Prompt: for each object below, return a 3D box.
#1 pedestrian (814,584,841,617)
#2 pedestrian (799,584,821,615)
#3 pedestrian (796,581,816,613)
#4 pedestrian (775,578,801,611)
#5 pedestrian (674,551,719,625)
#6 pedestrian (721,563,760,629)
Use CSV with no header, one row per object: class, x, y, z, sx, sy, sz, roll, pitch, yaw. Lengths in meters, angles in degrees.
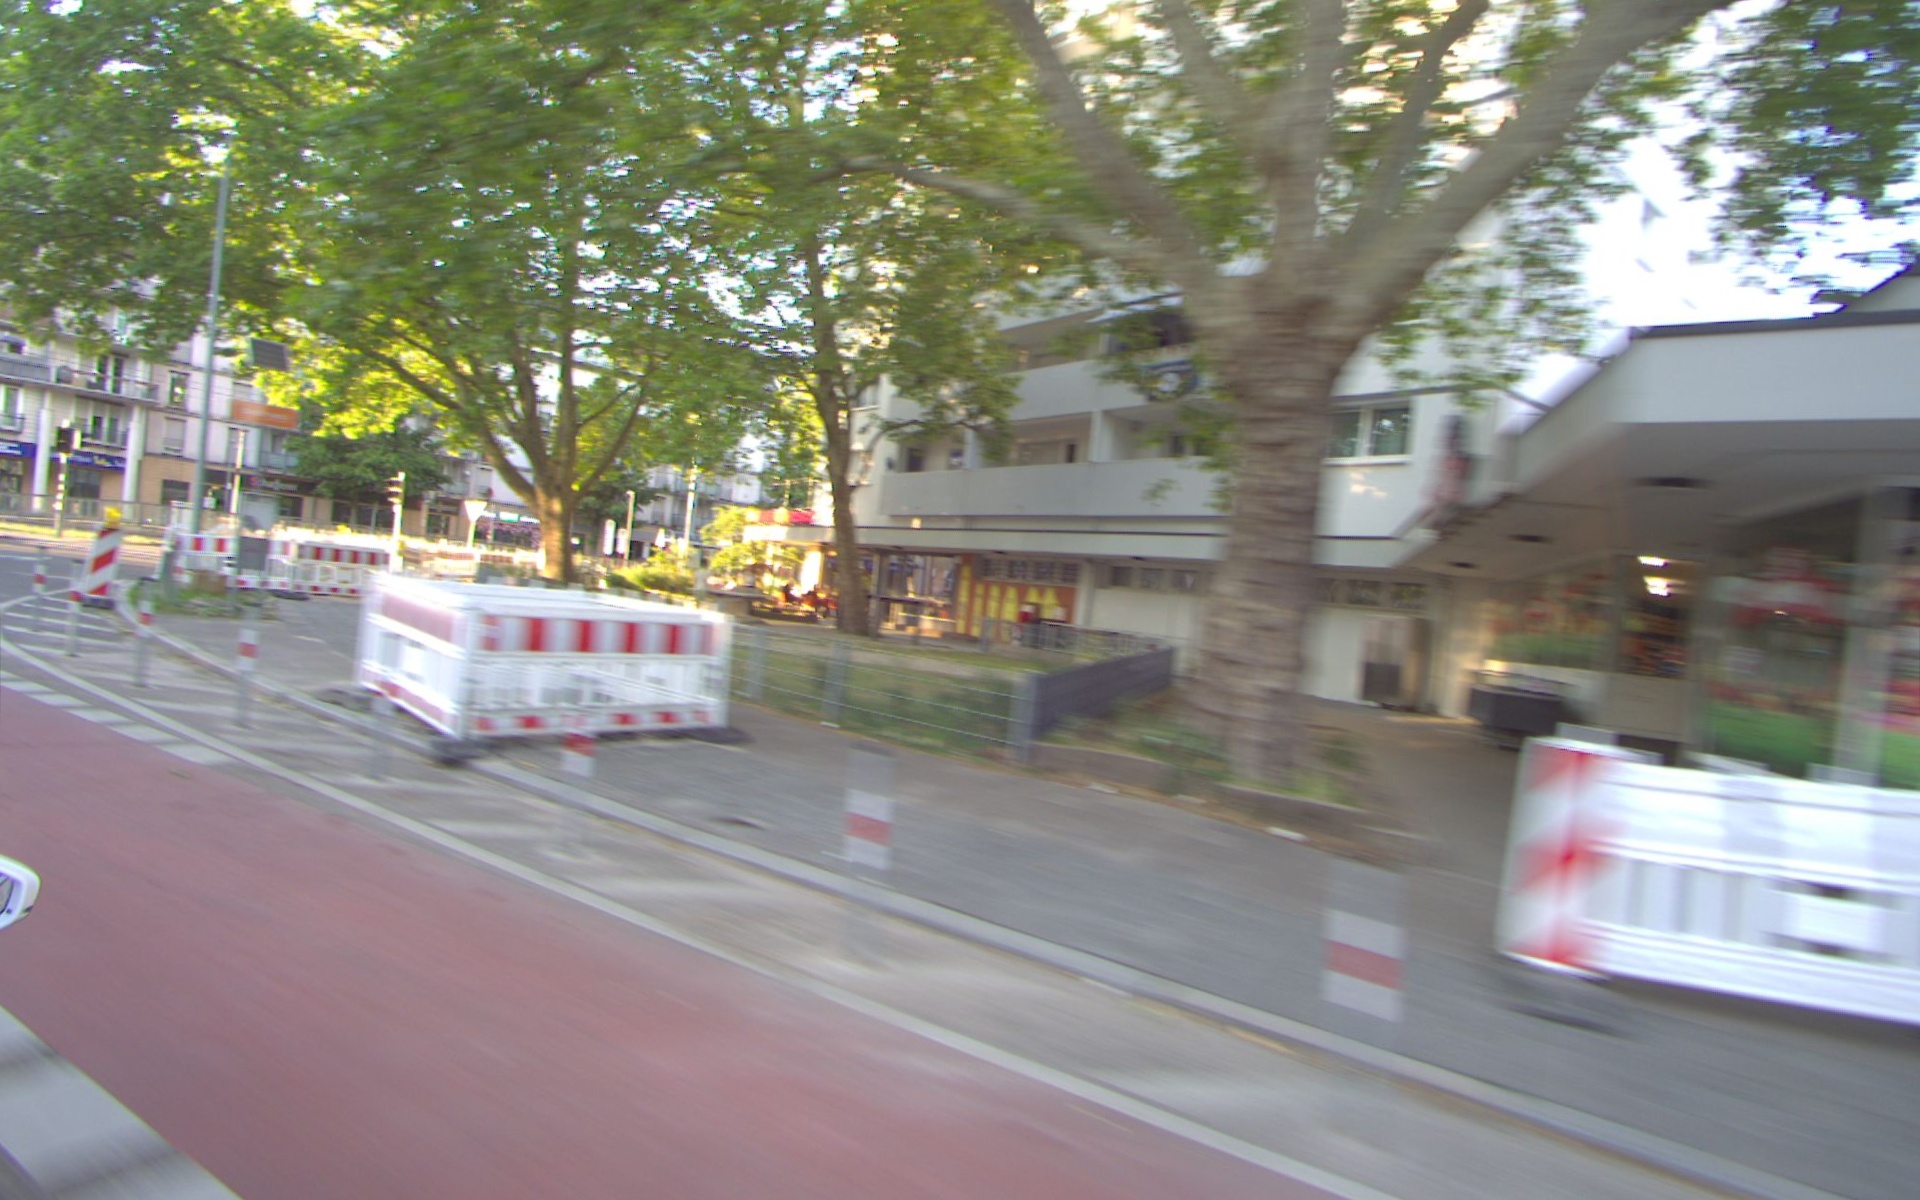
pedestrian,-4.925,0.013,37.463,0.665,1.150,0.619,6,1,-41
pedestrian,-5.493,-0.023,36.786,0.576,1.041,0.653,6,1,-21
pedestrian,-5.949,-0.117,38.831,0.596,1.143,0.625,7,1,-2
pedestrian,-6.342,-0.209,37.101,0.626,1.126,0.570,6,1,-42
pedestrian,-6.720,-0.301,25.701,0.704,1.780,0.662,7,1,15
pedestrian,-6.267,-0.130,28.706,0.711,1.780,0.656,6,1,-34
